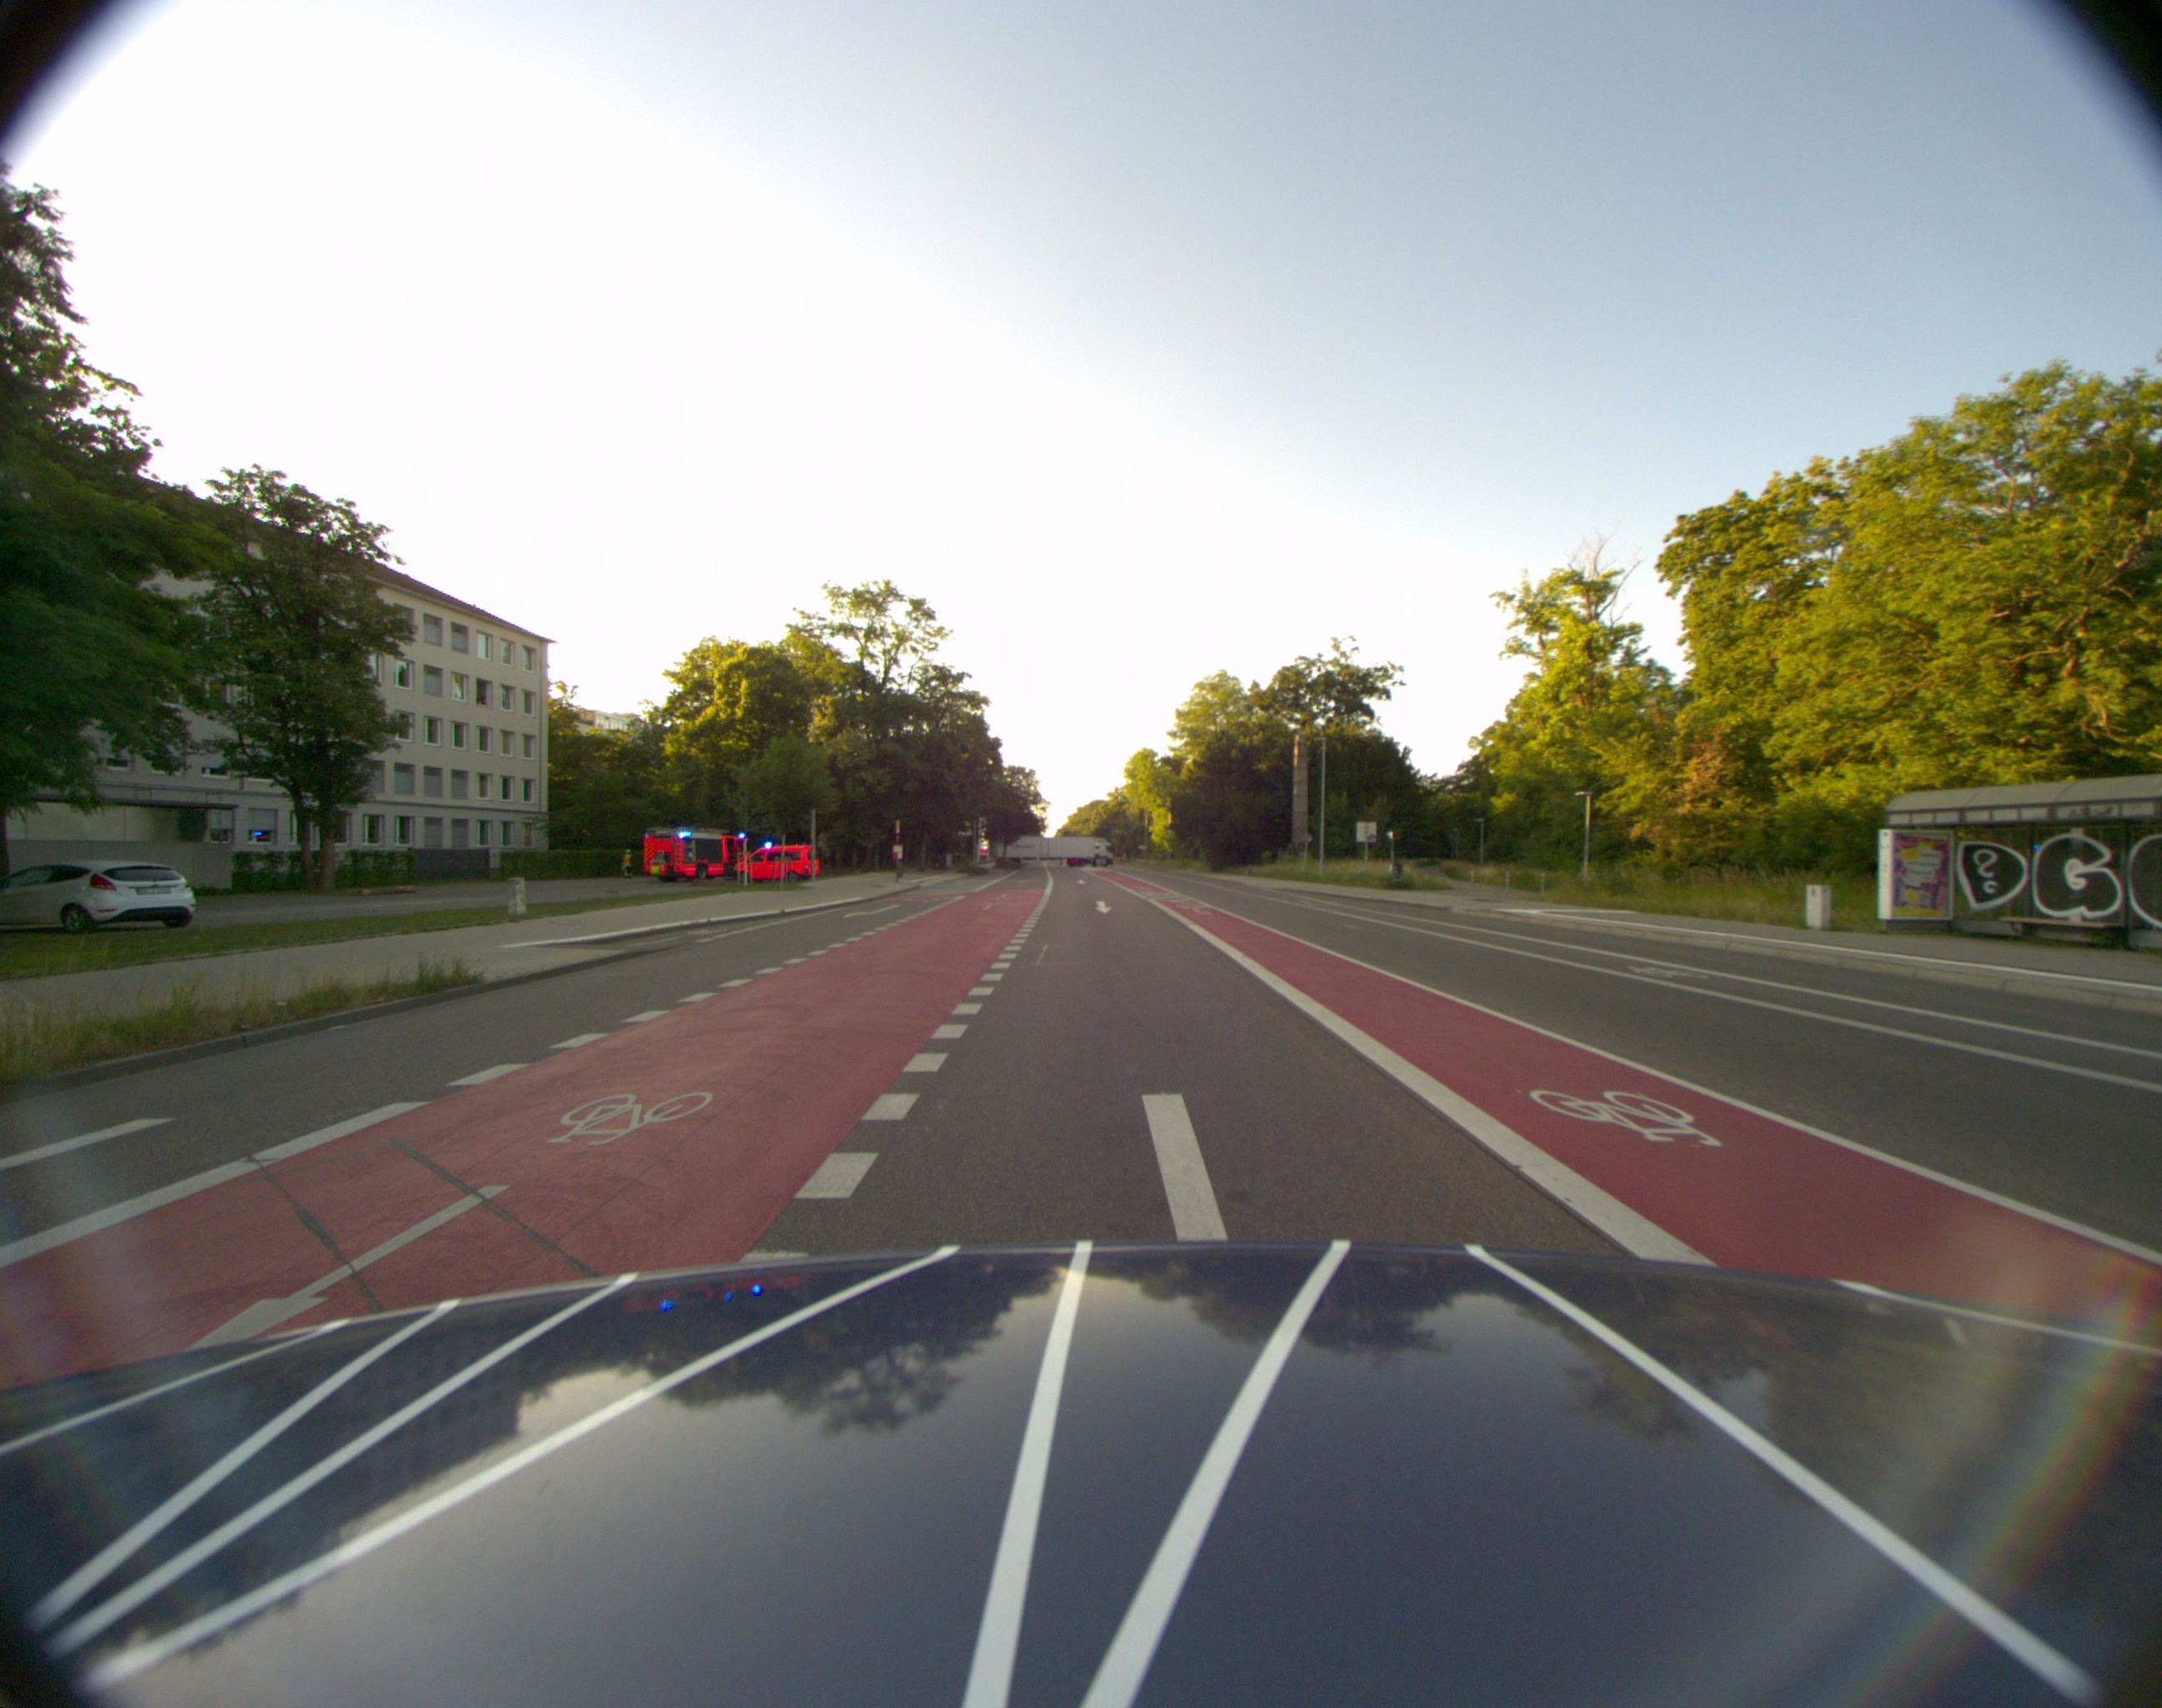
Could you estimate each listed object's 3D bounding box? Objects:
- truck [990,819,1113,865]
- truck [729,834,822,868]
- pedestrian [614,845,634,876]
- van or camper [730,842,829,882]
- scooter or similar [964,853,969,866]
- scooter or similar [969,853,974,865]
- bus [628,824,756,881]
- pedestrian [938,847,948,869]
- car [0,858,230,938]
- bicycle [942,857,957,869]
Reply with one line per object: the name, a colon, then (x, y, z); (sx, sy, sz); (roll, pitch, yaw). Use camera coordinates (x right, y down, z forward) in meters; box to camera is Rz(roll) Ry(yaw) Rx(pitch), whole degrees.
truck: (-3.780, -1.401, 95.295); (15.081, 5.542, 5.156); (0, 1, -6)
truck: (-29.829, -0.267, 74.153); (8.645, 3.192, 2.765); (0, 0, 17)
pedestrian: (-29.733, 0.404, 49.466); (0.772, 2.002, 0.826); (0, 1, 9)
van or camper: (-17.699, 0.458, 44.761); (4.823, 2.232, 2.296); (-1, 1, 7)
scooter or similar: (-12.213, 0.579, 81.232); (0.483, 1.274, 1.230); (2, 0, -8)
scooter or similar: (-11.962, 0.580, 83.154); (0.483, 1.274, 1.139); (2, 0, -8)
bus: (-23.812, -0.102, 47.111); (2.993, 3.177, 7.968); (-1, 1, 8)
pedestrian: (-12.341, 0.332, 68.157); (0.726, 2.002, 0.694); (0, 1, -26)
car: (-20.937, 0.896, 16.008); (3.996, 1.528, 1.912); (-1, 1, 4)
bicycle: (-11.845, 0.792, 68.381); (0.834, 1.091, 1.965); (0, 1, -24)
